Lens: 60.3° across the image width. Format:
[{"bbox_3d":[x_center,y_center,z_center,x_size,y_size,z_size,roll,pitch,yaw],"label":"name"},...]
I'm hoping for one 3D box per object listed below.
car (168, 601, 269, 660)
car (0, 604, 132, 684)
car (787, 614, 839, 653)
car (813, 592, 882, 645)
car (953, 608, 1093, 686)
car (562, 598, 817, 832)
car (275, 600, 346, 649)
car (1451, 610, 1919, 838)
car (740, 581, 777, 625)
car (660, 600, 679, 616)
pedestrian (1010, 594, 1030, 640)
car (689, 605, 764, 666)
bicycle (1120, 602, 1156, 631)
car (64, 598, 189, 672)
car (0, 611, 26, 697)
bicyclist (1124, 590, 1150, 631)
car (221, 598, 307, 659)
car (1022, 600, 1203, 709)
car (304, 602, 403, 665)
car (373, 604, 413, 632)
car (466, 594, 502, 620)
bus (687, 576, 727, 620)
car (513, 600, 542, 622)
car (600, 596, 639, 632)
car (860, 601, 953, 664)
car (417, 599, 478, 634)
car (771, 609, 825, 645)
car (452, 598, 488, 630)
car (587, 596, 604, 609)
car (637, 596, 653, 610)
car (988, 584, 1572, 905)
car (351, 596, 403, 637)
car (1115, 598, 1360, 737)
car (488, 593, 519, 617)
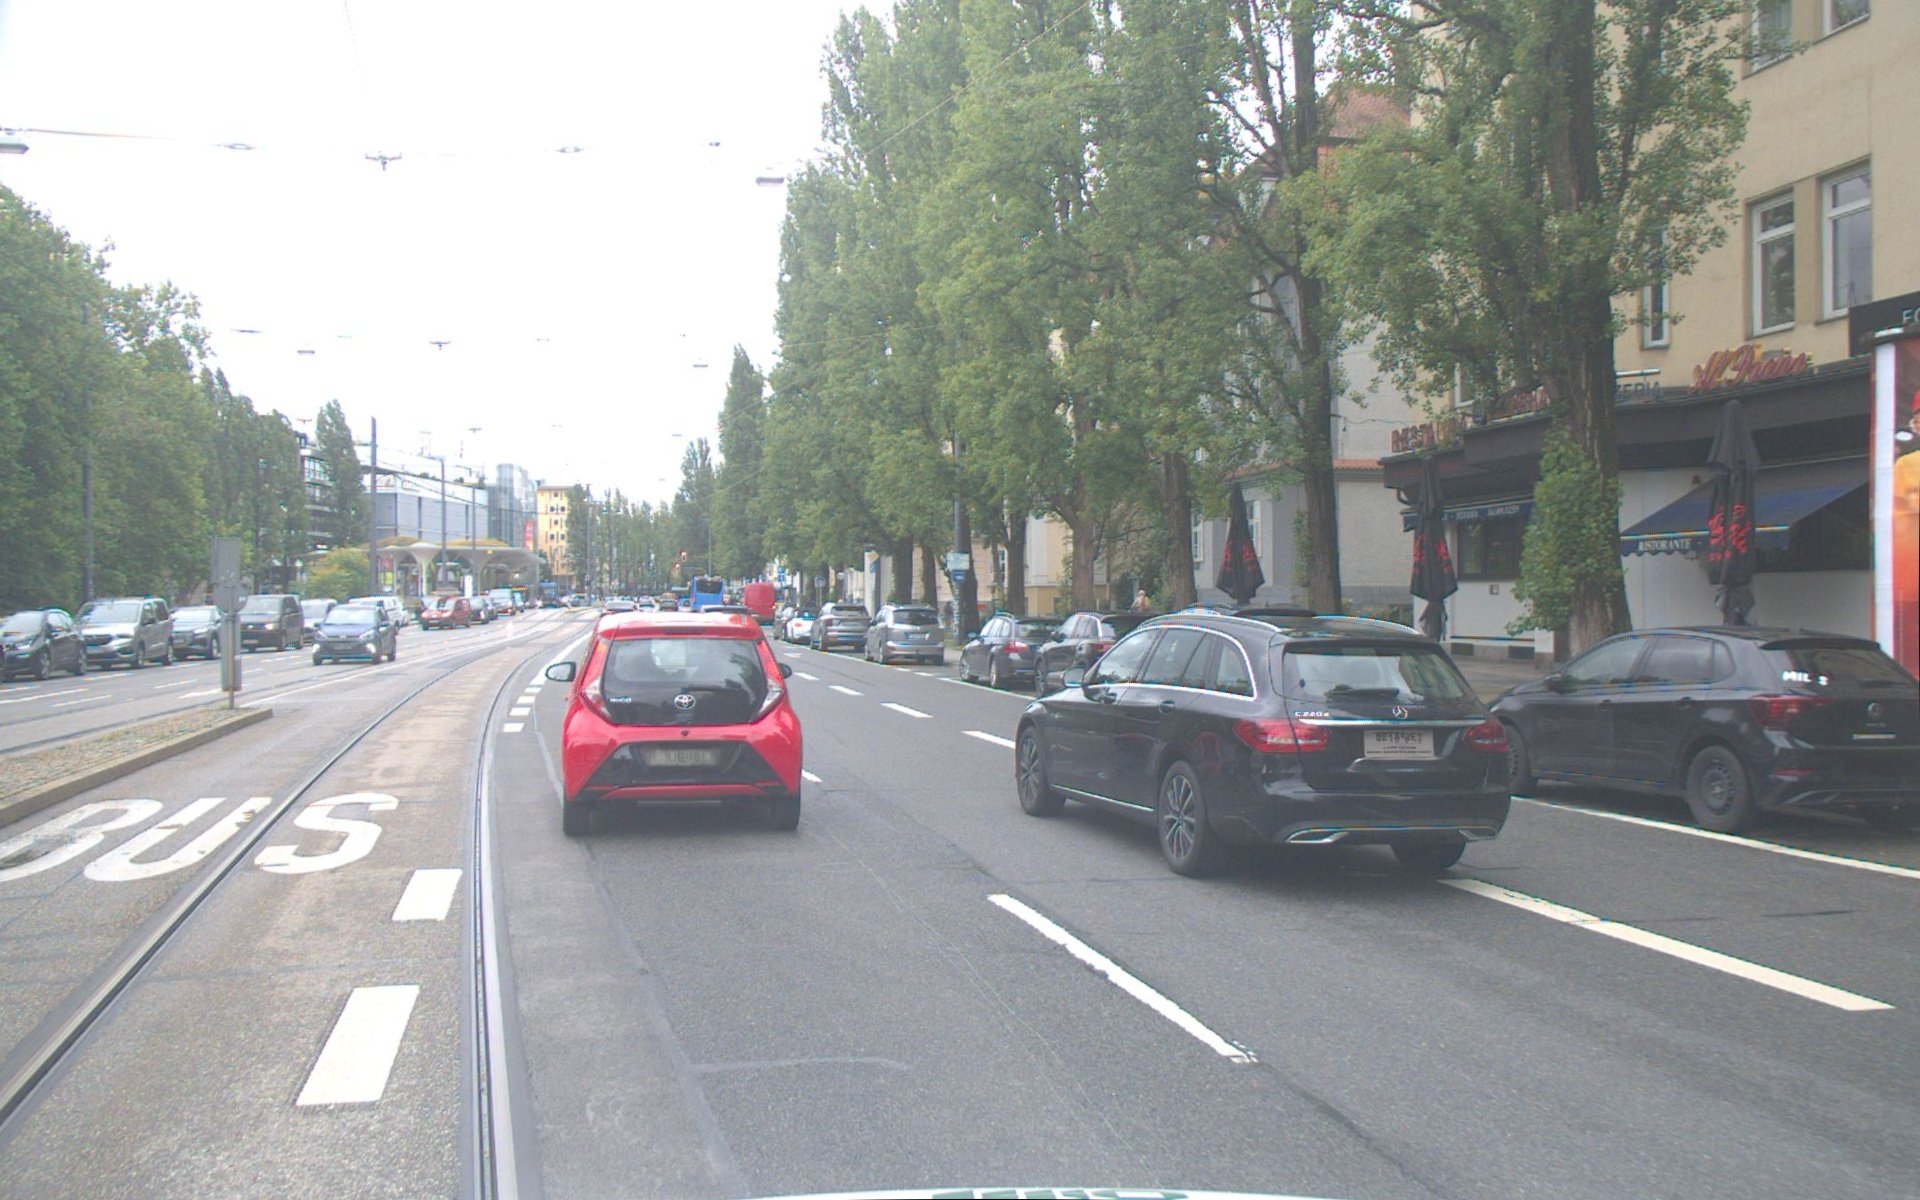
[{"bbox_3d":[-22.331,0.888,49.998,1.767,1.663,4.575,-1,0,-11],"label":"car"},{"bbox_3d":[-20.595,0.953,37.919,1.767,1.696,4.342,-1,0,-11],"label":"car"},{"bbox_3d":[-6.159,1.373,68.956,1.767,1.534,3.989,0,0,-11],"label":"car"},{"bbox_3d":[-4.057,0.632,58.968,1.768,1.773,4.685,-1,0,-12],"label":"car"},{"bbox_3d":[1.181,0.881,33.186,1.768,1.423,4.368,-1,0,-12],"label":"car"},{"bbox_3d":[-2.106,0.732,12.204,1.601,1.465,3.364,1,0,-14],"label":"car"},{"bbox_3d":[-25.762,0.943,65.743,1.767,1.819,4.506,-2,0,-11],"label":"car"},{"bbox_3d":[5.756,0.830,13.094,1.770,1.491,3.983,0,0,-16],"label":"car"},{"bbox_3d":[-12.577,0.160,103.053,1.958,2.619,4.667,0,2,-11],"label":"car"},{"bbox_3d":[-27.948,0.719,159.172,1.749,1.512,3.989,0,0,-11],"label":"car"},{"bbox_3d":[2.343,0.643,64.779,0.581,1.769,0.822,0,1,-11],"label":"pedestrian"},{"bbox_3d":[-6.154,0.897,43.261,1.749,1.512,3.989,0,0,-11],"label":"car"},{"bbox_3d":[5.983,0.544,55.647,0.641,0.939,1.896,-1,0,-13],"label":"bicycle"},{"bbox_3d":[-21.776,0.871,43.395,1.767,1.810,4.460,-1,0,-11],"label":"car"},{"bbox_3d":[-19.299,1.066,30.825,1.767,1.671,4.985,-1,0,-11],"label":"car"},{"bbox_3d":[5.965,0.349,55.742,0.648,1.337,0.703,-1,0,-13],"label":"bicyclist"},{"bbox_3d":[-24.431,0.976,58.210,1.767,2.025,5.025,-1,0,-11],"label":"car"},{"bbox_3d":[2.430,0.835,27.423,1.768,1.640,4.291,-1,0,-12],"label":"car"},{"bbox_3d":[-16.076,0.878,44.023,1.767,1.549,4.342,-1,0,-11],"label":"car"},{"bbox_3d":[-33.926,1.087,99.062,1.769,1.557,4.502,-2,0,-14],"label":"car"},{"bbox_3d":[-31.469,0.464,109.352,1.767,1.557,4.508,-2,0,-10],"label":"car"},{"bbox_3d":[-21.398,-0.245,139.414,2.854,3.455,10.777,0,2,-11],"label":"bus"},{"bbox_3d":[-35.541,0.905,135.869,1.766,1.694,4.510,-2,0,-9],"label":"car"},{"bbox_3d":[-15.490,0.618,75.306,1.705,1.576,4.563,-1,0,-11],"label":"car"},{"bbox_3d":[-1.528,0.851,45.635,1.768,1.640,4.532,-1,0,-12],"label":"car"},{"bbox_3d":[-28.470,0.874,92.062,1.762,1.819,4.520,-2,0,2],"label":"car"},{"bbox_3d":[-7.331,1.180,74.448,1.769,1.534,4.433,0,0,-14],"label":"car"},{"bbox_3d":[-29.738,0.837,100.449,1.768,1.819,4.504,-2,0,-13],"label":"car"},{"bbox_3d":[-42.610,0.296,193.345,1.749,1.512,3.989,0,0,-11],"label":"car"},{"bbox_3d":[-42.145,0.445,221.337,1.770,1.624,3.992,0,-3,-7],"label":"car"},{"bbox_3d":[1.735,0.699,10.775,1.833,1.576,4.683,-1,1,-16],"label":"car"},{"bbox_3d":[-28.788,0.807,81.778,1.768,1.894,4.617,-2,0,-12],"label":"car"},{"bbox_3d":[3.559,0.808,22.102,1.691,1.640,4.456,-1,0,-12],"label":"car"},{"bbox_3d":[-33.548,0.354,121.598,1.767,1.694,4.507,-2,0,-10],"label":"car"}]
